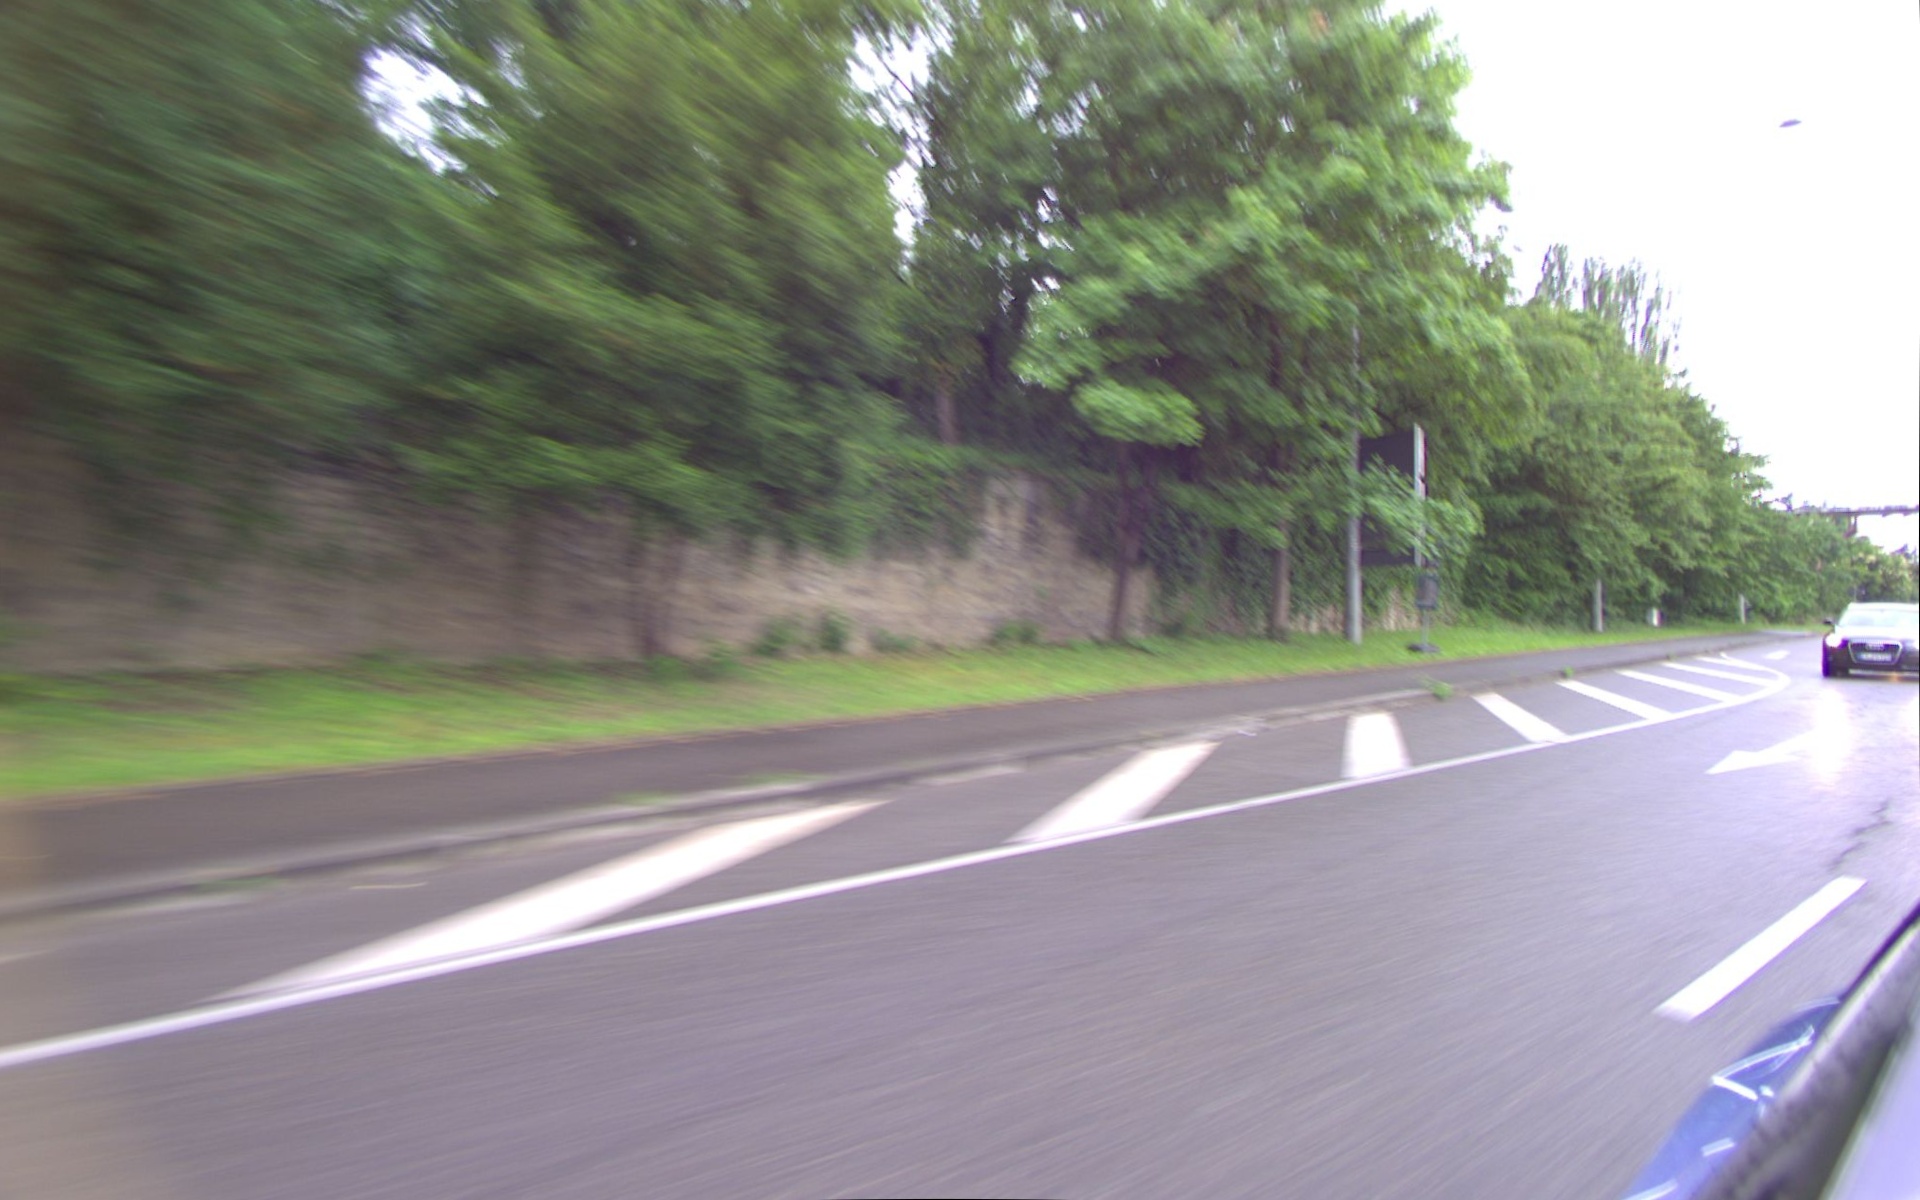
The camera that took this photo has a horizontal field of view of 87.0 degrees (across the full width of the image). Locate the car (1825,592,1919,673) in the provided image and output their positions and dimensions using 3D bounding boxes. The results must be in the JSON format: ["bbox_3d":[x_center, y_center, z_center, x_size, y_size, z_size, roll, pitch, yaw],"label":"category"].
[{"bbox_3d":[20.442,0.654,22.143,4.209,1.621,1.924,0,1,-44],"label":"car"}]
